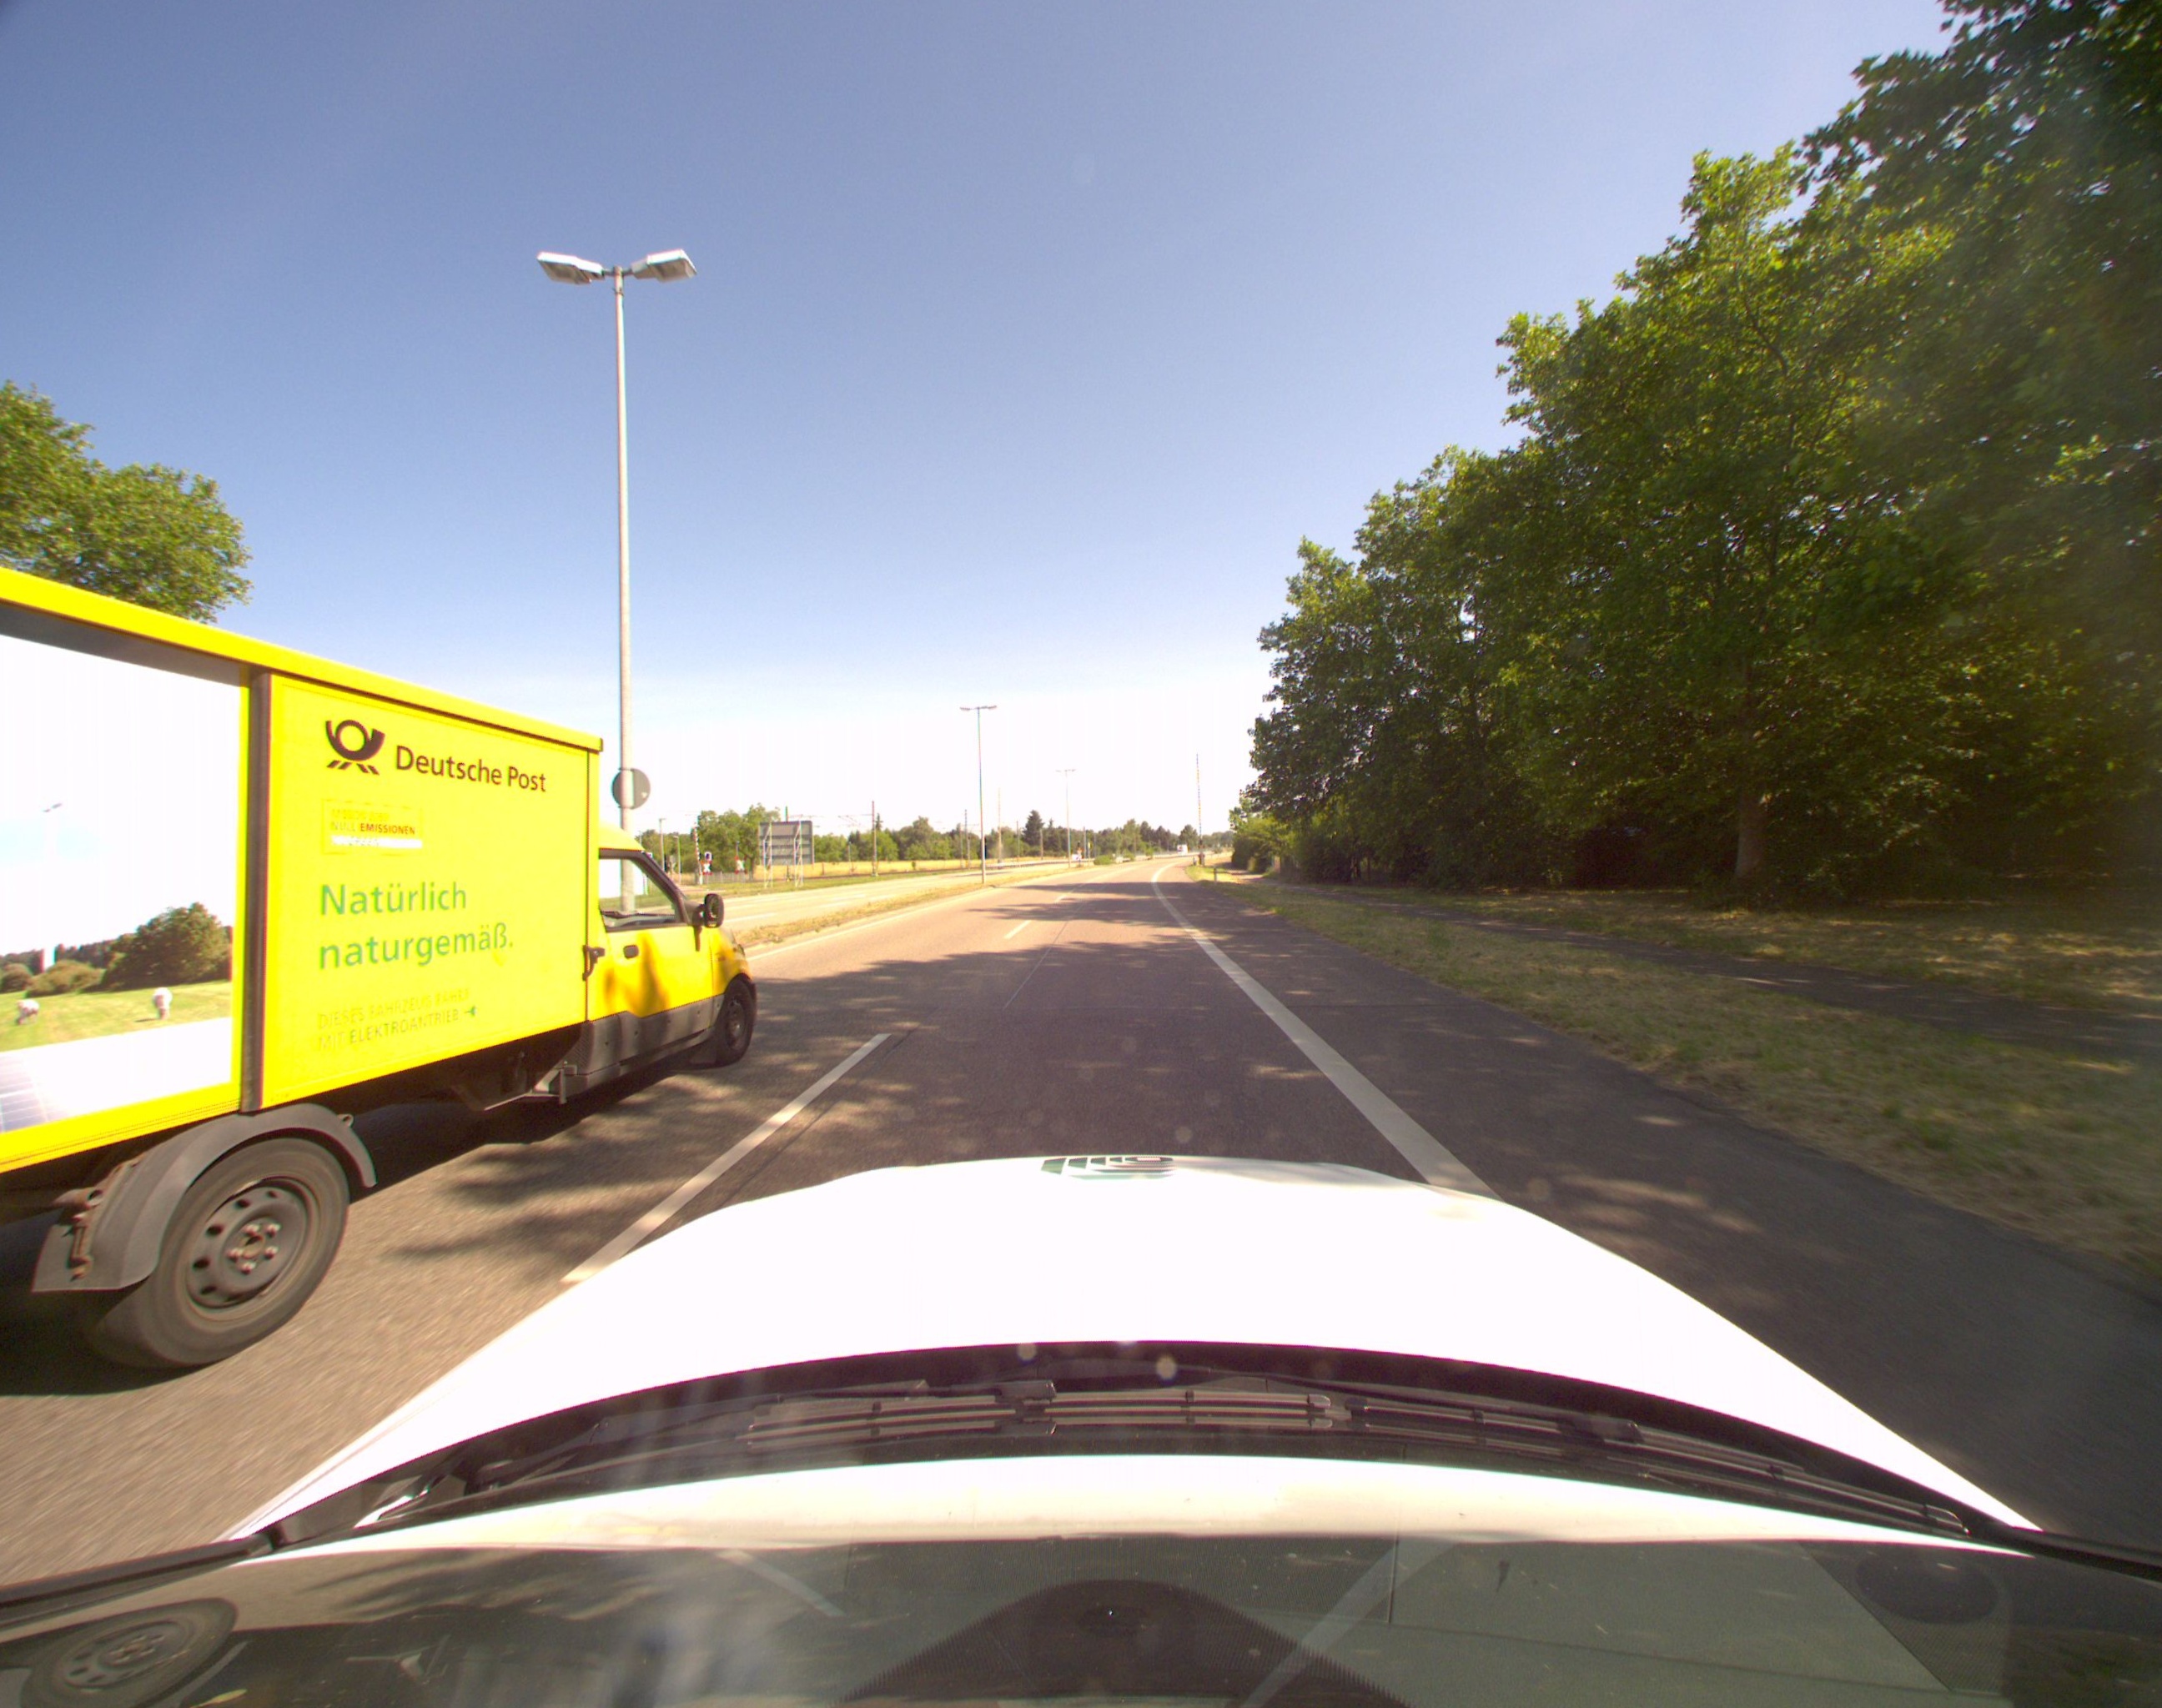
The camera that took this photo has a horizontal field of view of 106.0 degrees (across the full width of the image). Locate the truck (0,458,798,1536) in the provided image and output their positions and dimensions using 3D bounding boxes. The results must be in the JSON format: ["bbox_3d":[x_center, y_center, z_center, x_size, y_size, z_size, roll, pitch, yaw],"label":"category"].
[{"bbox_3d":[-3.496,0.338,3.902,2.104,2.457,5.917,-1,0,1],"label":"truck"}]
